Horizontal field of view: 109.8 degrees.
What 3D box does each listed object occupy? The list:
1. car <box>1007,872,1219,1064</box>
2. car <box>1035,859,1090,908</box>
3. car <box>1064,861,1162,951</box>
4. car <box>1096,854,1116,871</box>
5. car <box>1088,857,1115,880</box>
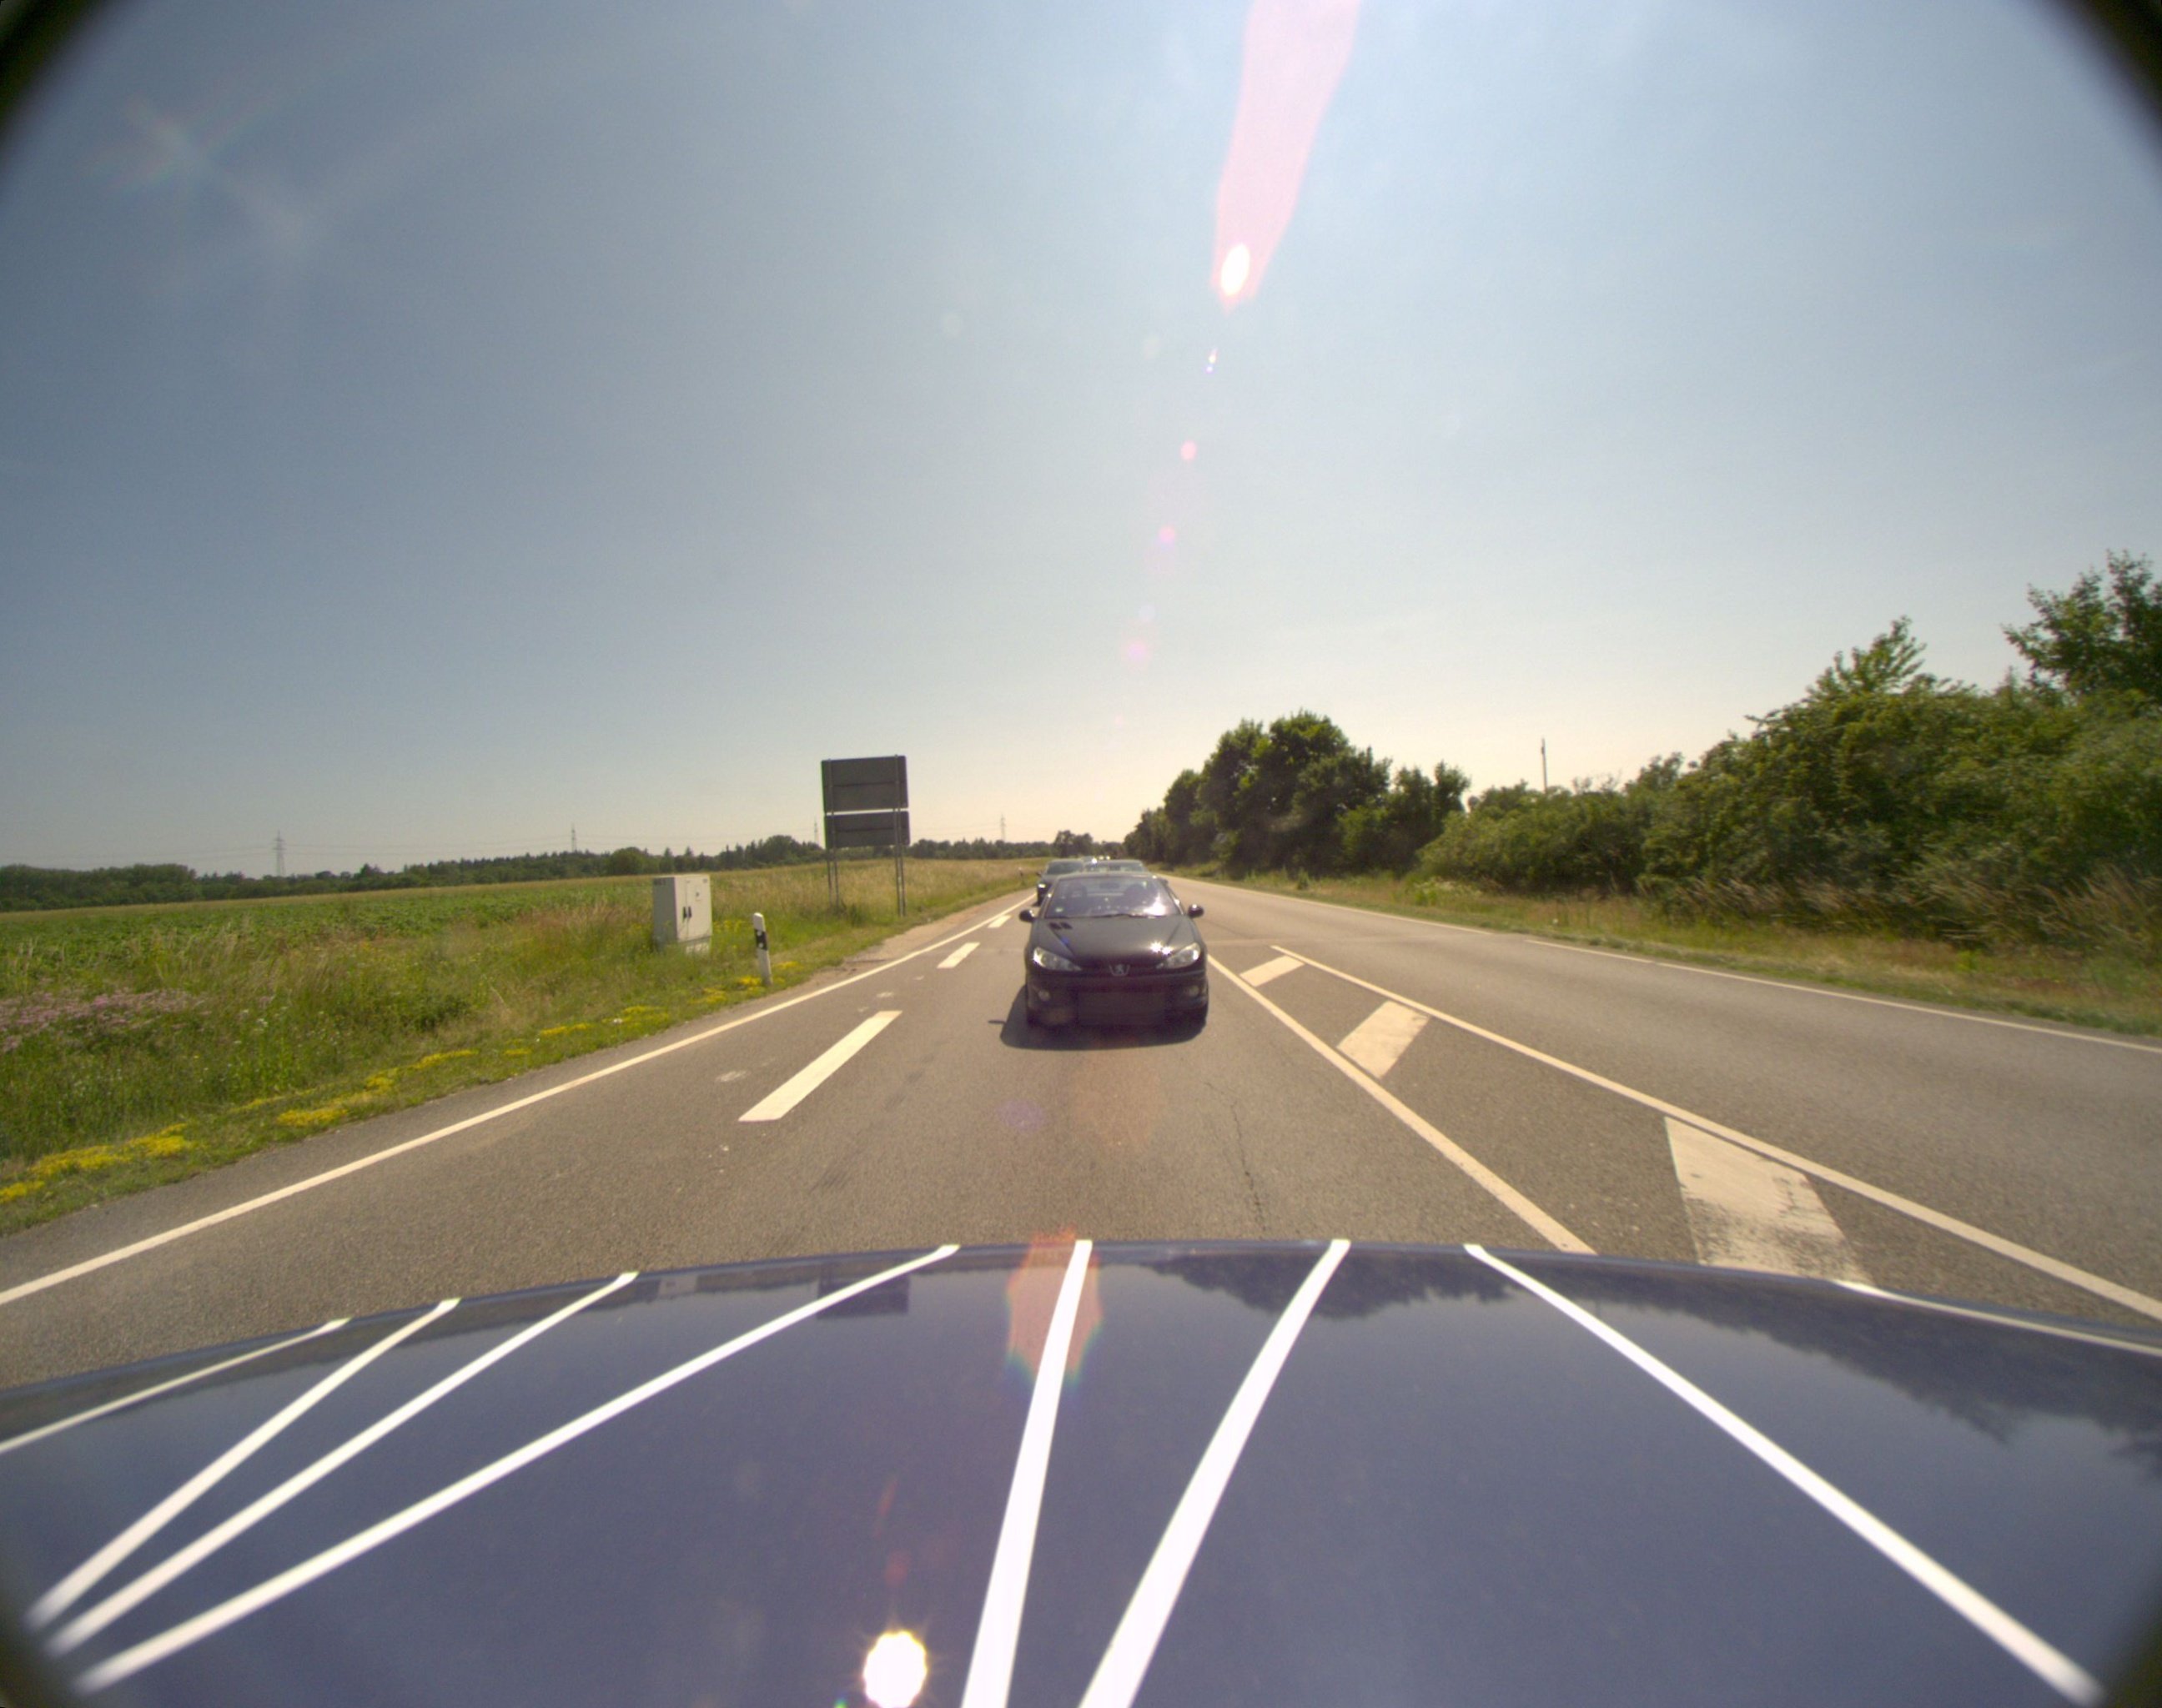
[{"bbox_3d":[0.282,0.967,7.987,1.665,1.389,3.731,-2,0,1],"label":"car"},{"bbox_3d":[-0.551,0.941,25.880,1.665,1.449,4.173,-2,0,1],"label":"car"},{"bbox_3d":[0.618,0.926,15.171,1.665,1.477,3.732,-2,0,2],"label":"car"},{"bbox_3d":[2.065,0.675,63.478,1.588,1.294,3.631,-2,0,1],"label":"car"},{"bbox_3d":[1.239,0.862,47.333,1.588,1.294,3.631,-2,0,1],"label":"car"}]
